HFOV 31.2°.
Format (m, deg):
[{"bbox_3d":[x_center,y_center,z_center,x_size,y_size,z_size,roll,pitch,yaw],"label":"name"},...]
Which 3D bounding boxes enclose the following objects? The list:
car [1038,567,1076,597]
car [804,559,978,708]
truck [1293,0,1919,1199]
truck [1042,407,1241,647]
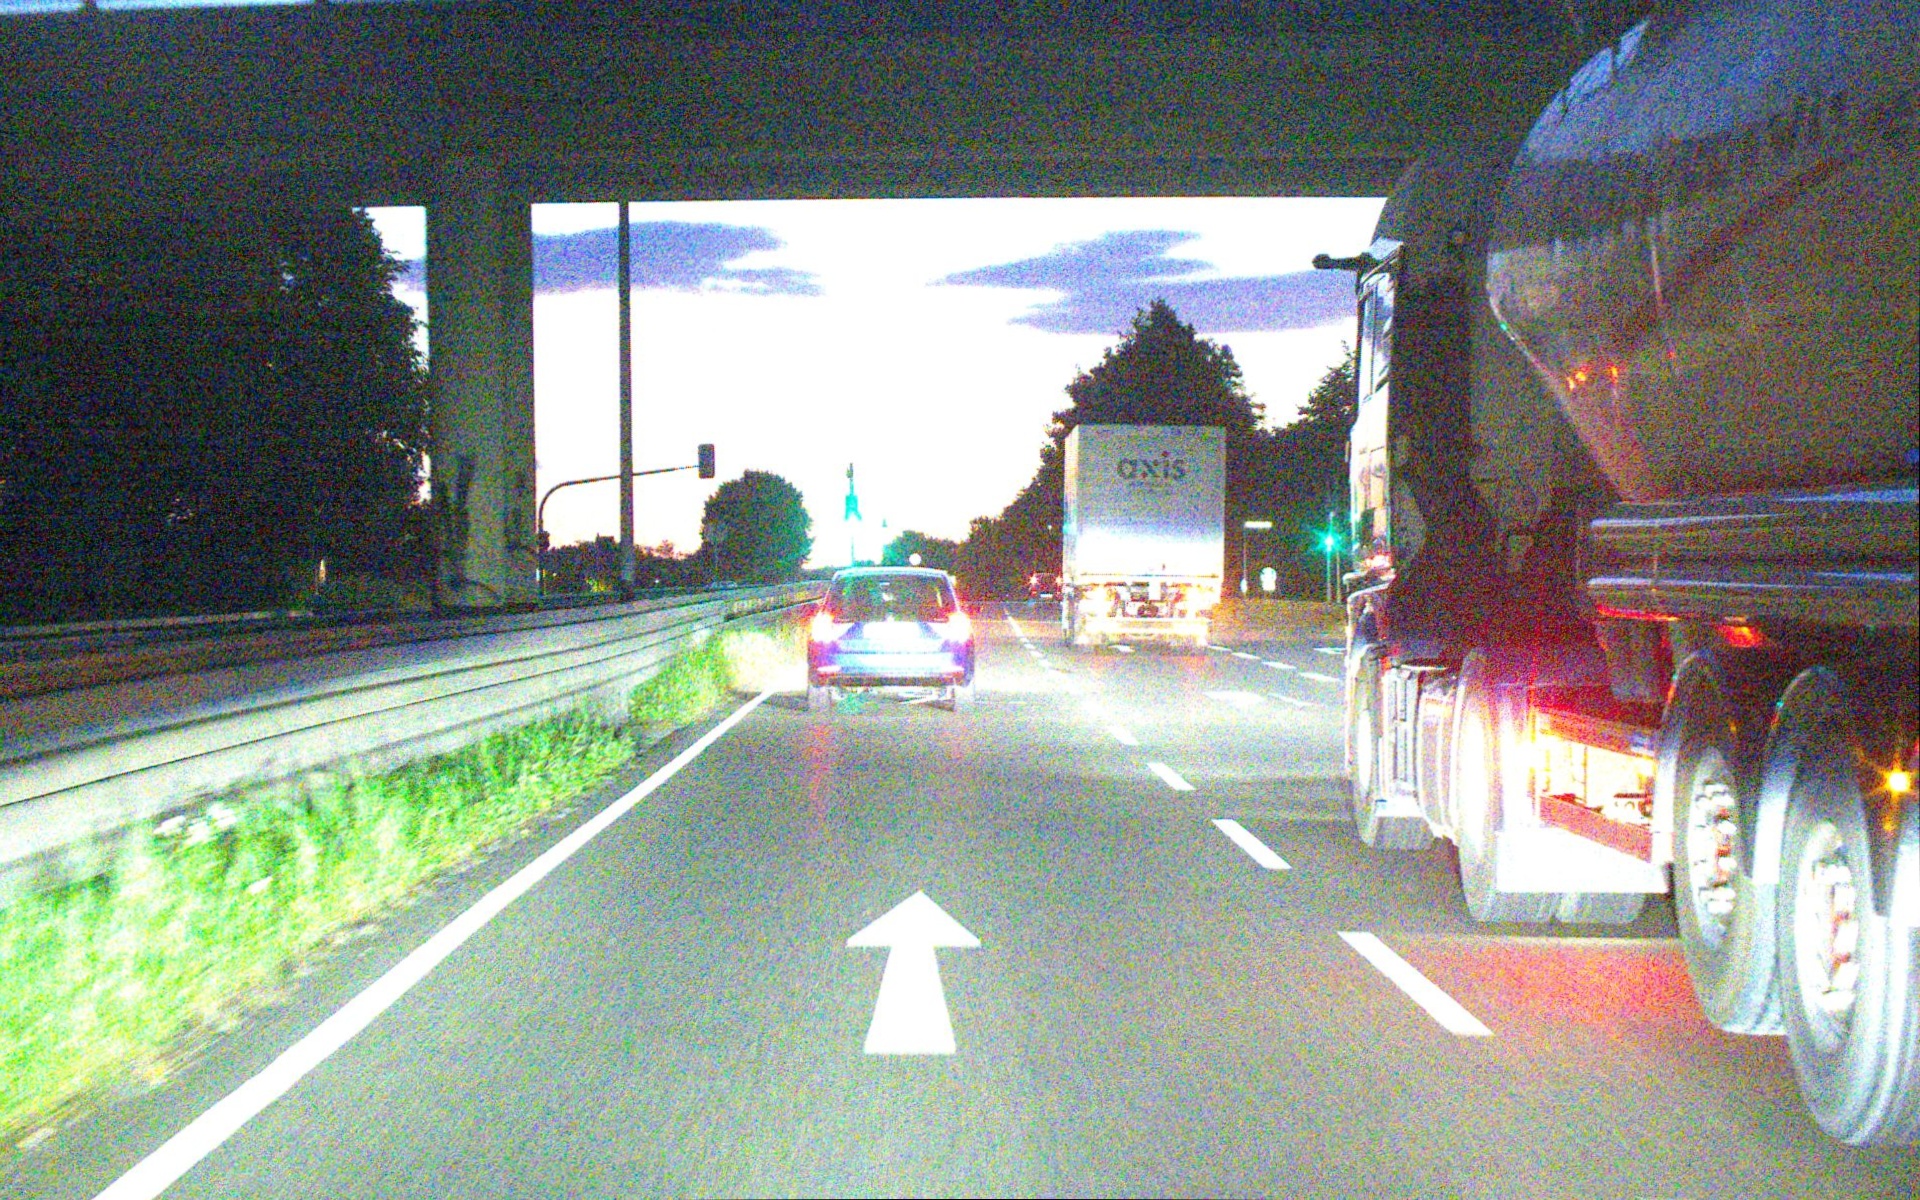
[{"bbox_3d":[4.715,-0.870,167.310,1.695,1.447,3.914,0,0,-1],"label":"car"},{"bbox_3d":[-0.704,0.315,35.606,1.695,1.447,3.914,0,0,-1],"label":"car"},{"bbox_3d":[3.363,-0.688,13.083,2.687,4.092,13.142,0,0,-1],"label":"truck"},{"bbox_3d":[3.256,-1.300,65.199,2.883,4.092,12.684,0,0,-1],"label":"truck"}]
